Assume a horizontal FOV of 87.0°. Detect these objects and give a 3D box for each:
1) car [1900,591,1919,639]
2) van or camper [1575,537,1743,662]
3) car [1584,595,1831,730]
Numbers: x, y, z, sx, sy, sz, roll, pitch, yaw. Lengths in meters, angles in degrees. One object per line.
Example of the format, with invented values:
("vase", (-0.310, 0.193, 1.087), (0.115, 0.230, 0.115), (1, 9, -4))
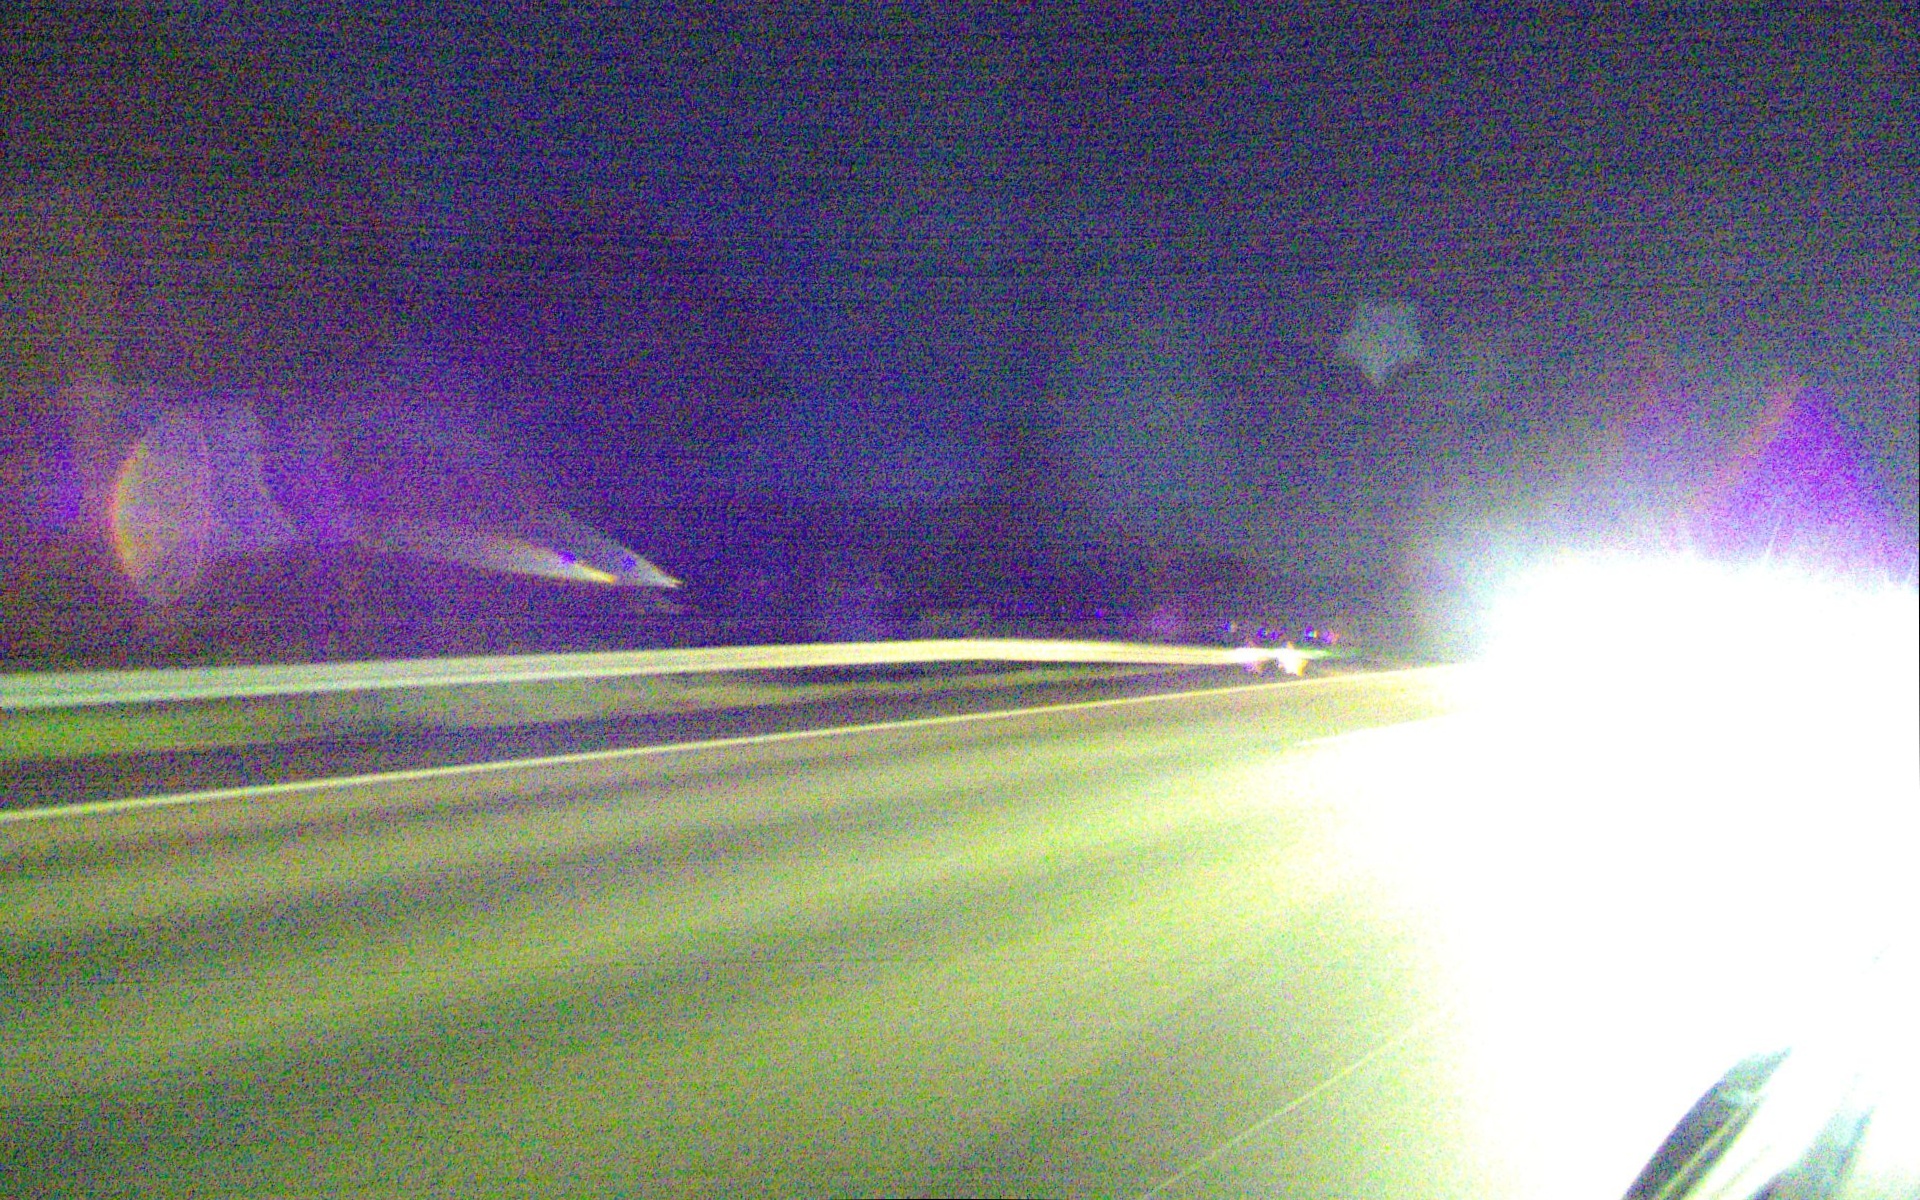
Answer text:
("car", (33.071, 0.494, 33.999), (4.152, 1.560, 1.793), (0, 1, -41))
("van or camper", (17.974, -0.029, 25.852), (6.690, 2.807, 2.209), (0, 0, -43))
("car", (9.699, 0.674, 13.008), (4.152, 1.431, 1.689), (0, 1, -41))
